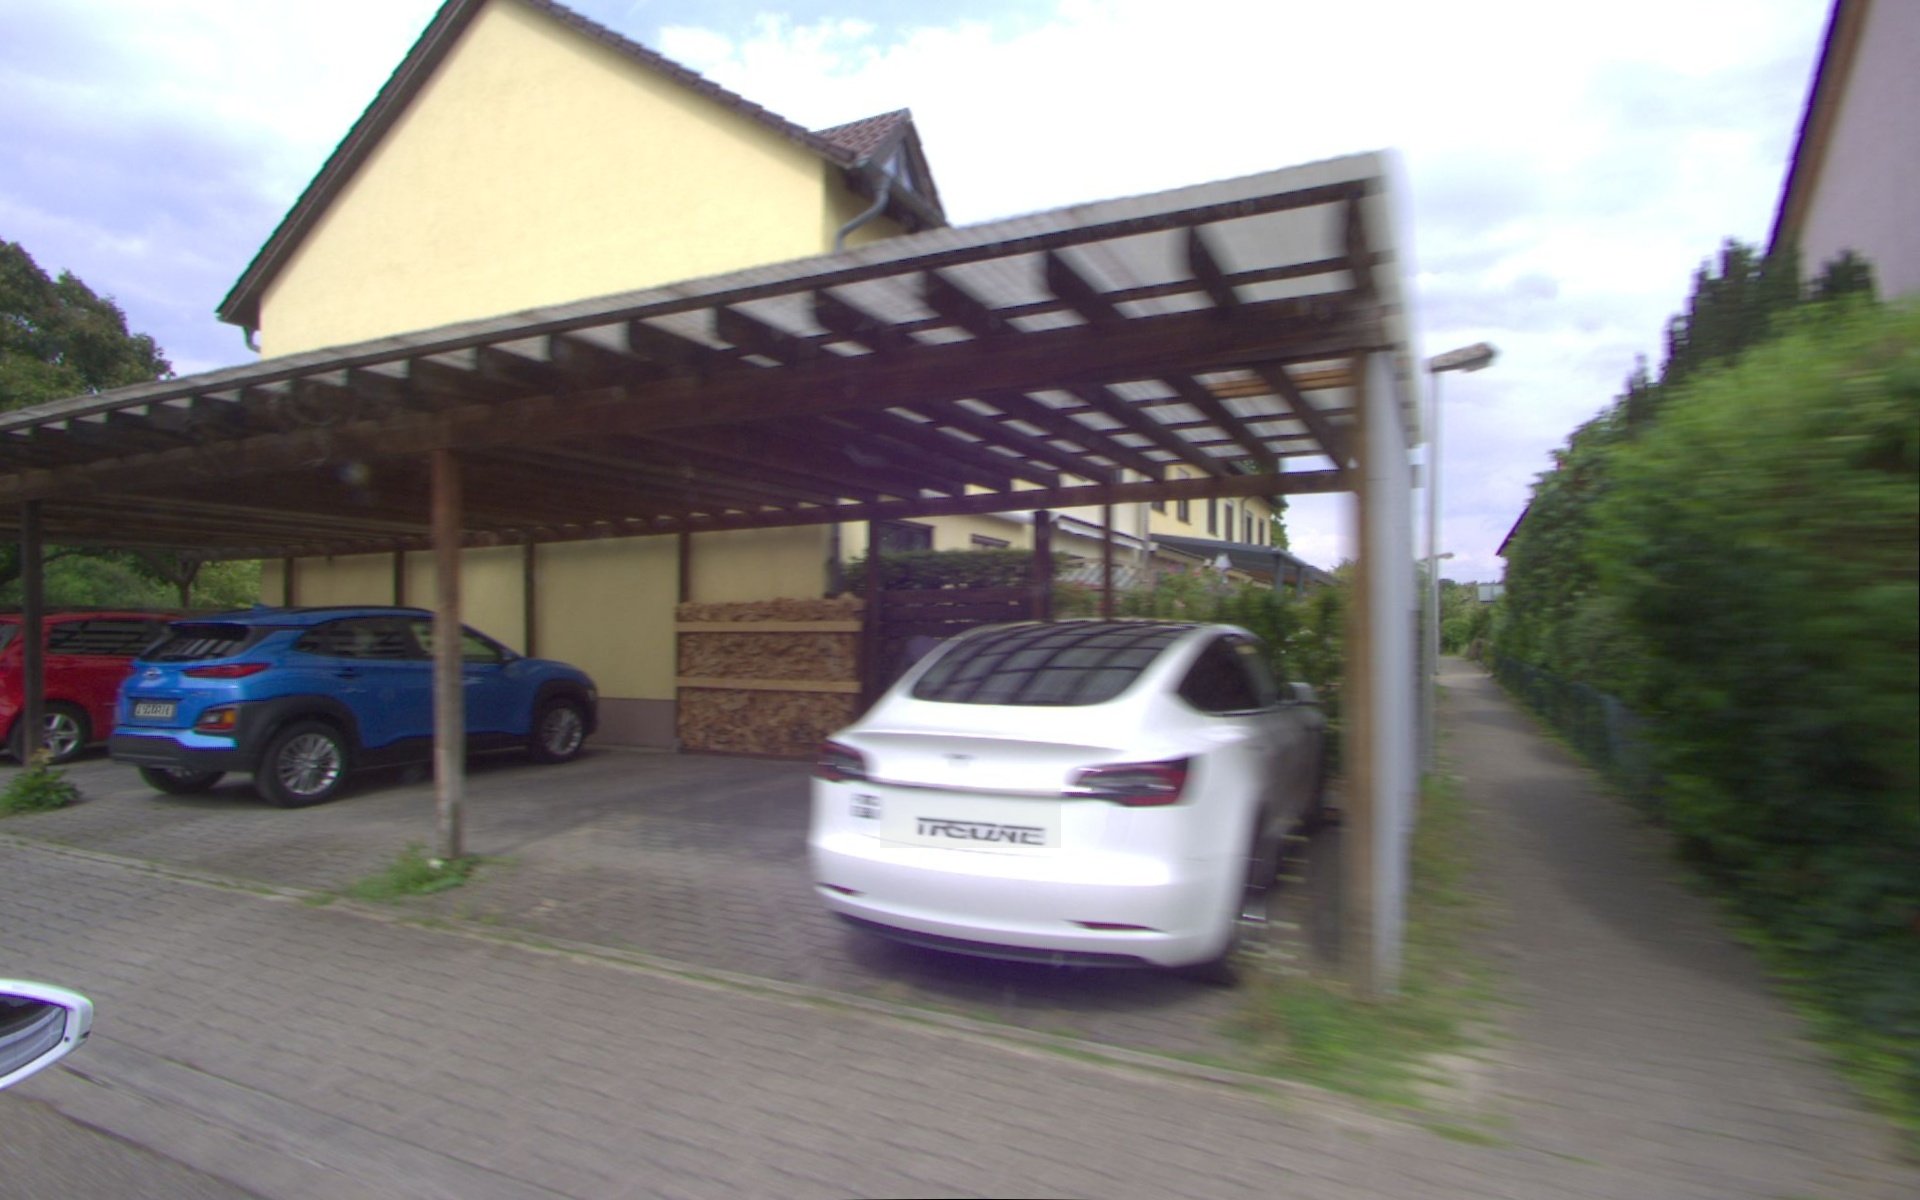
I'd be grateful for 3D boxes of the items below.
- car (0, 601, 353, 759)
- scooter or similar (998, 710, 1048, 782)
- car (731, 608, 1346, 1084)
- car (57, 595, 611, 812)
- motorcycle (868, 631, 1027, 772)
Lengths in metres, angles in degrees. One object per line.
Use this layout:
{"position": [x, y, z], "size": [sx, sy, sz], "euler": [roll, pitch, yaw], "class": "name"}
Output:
{"position": [-9.643, 0.826, 11.807], "size": [1.809, 1.560, 3.959], "euler": [0, -1, 24], "class": "car"}
{"position": [0.565, 1.273, 8.841], "size": [0.233, 0.558, 0.641], "euler": [0, -1, 24], "class": "scooter or similar"}
{"position": [0.925, 0.799, 5.506], "size": [1.994, 1.451, 4.451], "euler": [0, -1, 24], "class": "car"}
{"position": [-5.447, 0.783, 9.365], "size": [1.918, 1.542, 4.048], "euler": [0, -1, 23], "class": "car"}
{"position": [-0.119, 0.924, 9.372], "size": [1.453, 1.247, 0.353], "euler": [0, -1, 19], "class": "motorcycle"}
